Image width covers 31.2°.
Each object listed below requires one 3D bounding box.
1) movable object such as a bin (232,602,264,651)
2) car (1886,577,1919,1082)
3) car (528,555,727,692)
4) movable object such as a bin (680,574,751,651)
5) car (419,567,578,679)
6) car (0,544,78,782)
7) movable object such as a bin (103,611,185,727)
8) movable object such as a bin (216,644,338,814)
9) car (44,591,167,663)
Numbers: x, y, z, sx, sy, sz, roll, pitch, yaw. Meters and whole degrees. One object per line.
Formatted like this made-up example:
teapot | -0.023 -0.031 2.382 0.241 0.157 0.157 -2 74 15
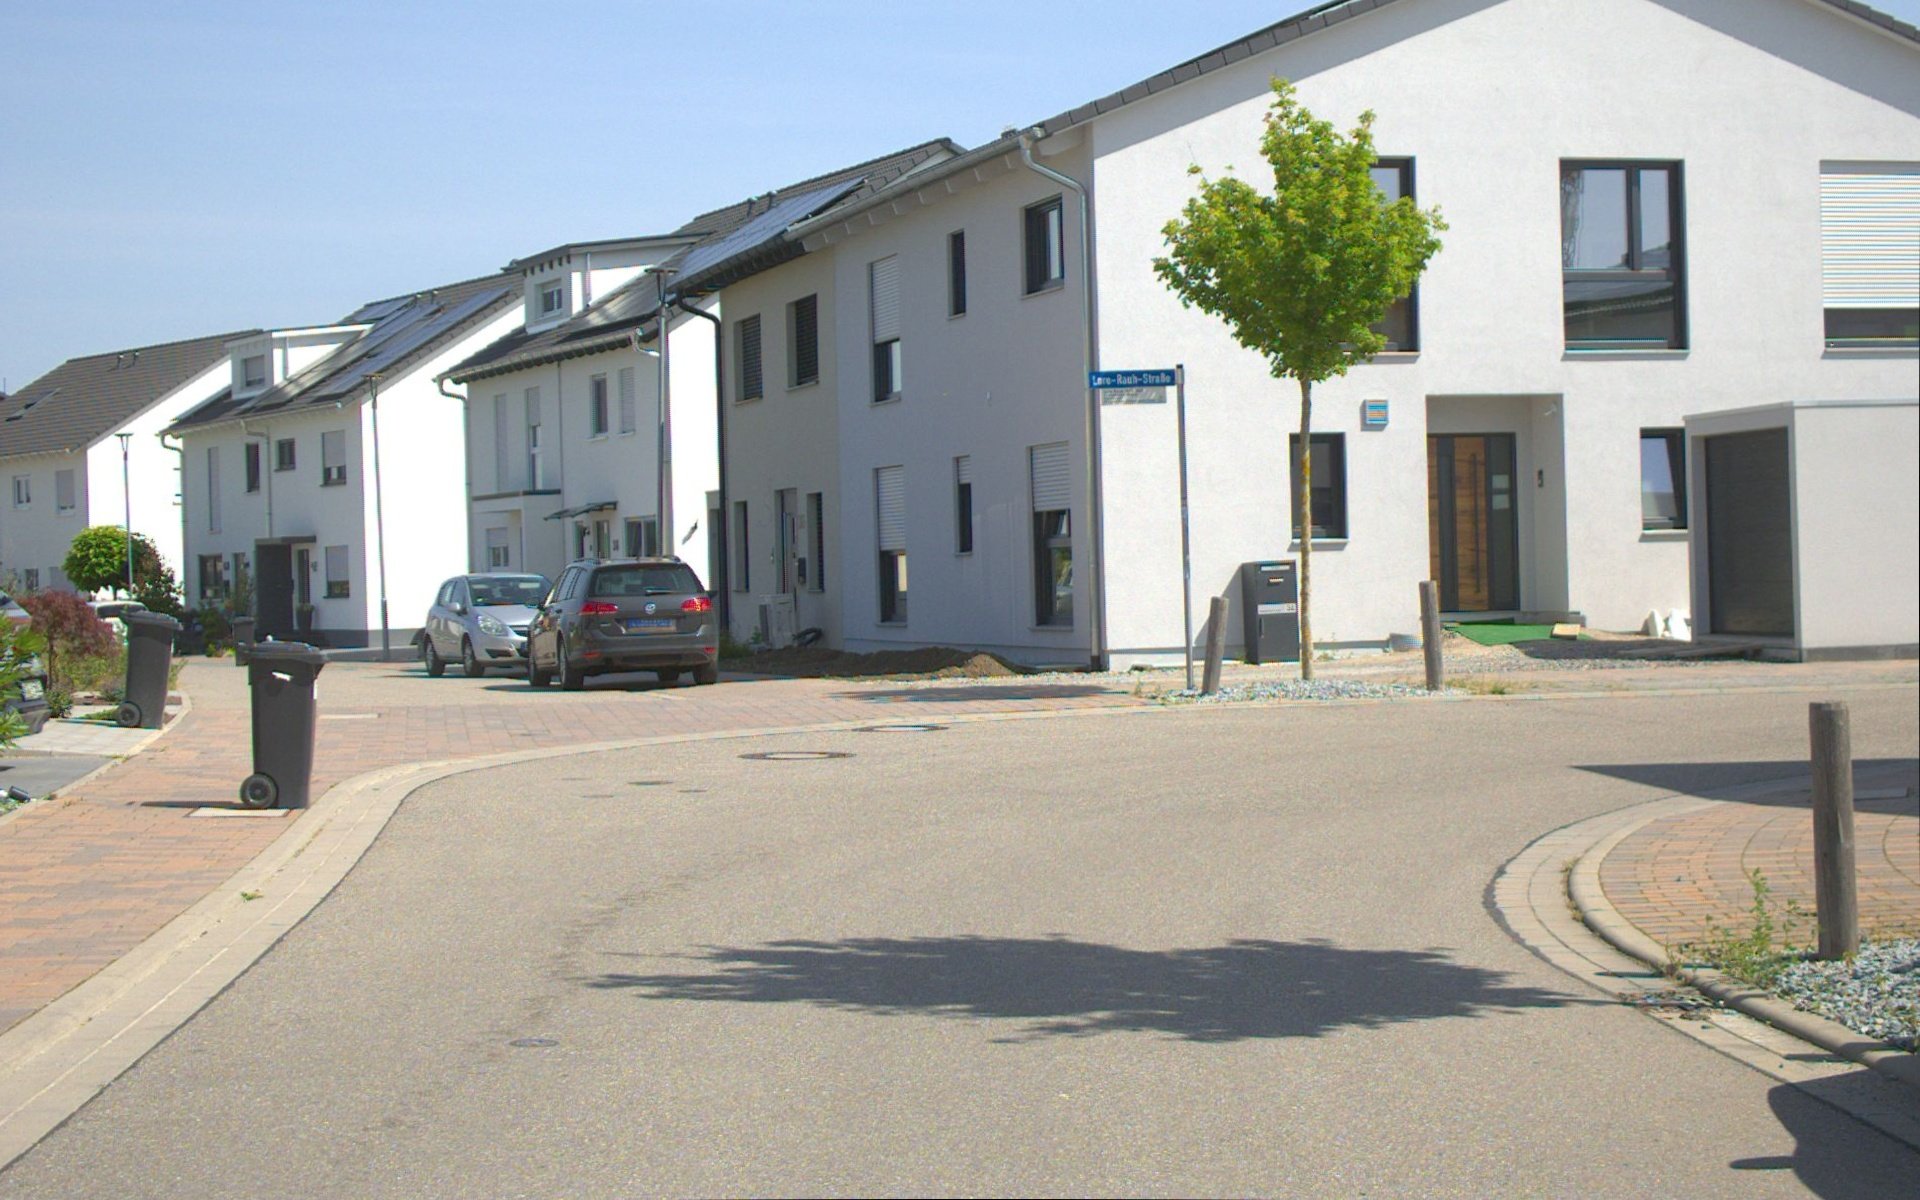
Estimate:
movable object such as a bin | -14.073 0.528 67.938 0.557 0.945 0.247 -2 1 -19
car | 3.604 0.636 7.632 1.762 1.433 4.520 -3 1 -1
car | -3.850 0.242 39.299 1.726 1.418 4.001 -2 1 -13
movable object such as a bin | -3.515 0.172 49.329 0.784 1.046 0.804 -4 1 -17
car | -6.598 0.302 48.829 1.676 1.459 3.945 -2 1 -15
car | -7.952 0.415 22.281 3.987 1.481 1.754 -1 1 1
movable object such as a bin | -6.634 0.562 27.961 0.614 0.924 0.423 1 -1 -12
movable object such as a bin | -3.859 0.723 19.437 0.535 0.933 0.526 0 1 8
car | -20.300 0.640 81.594 1.780 1.590 4.000 -2 1 -29
